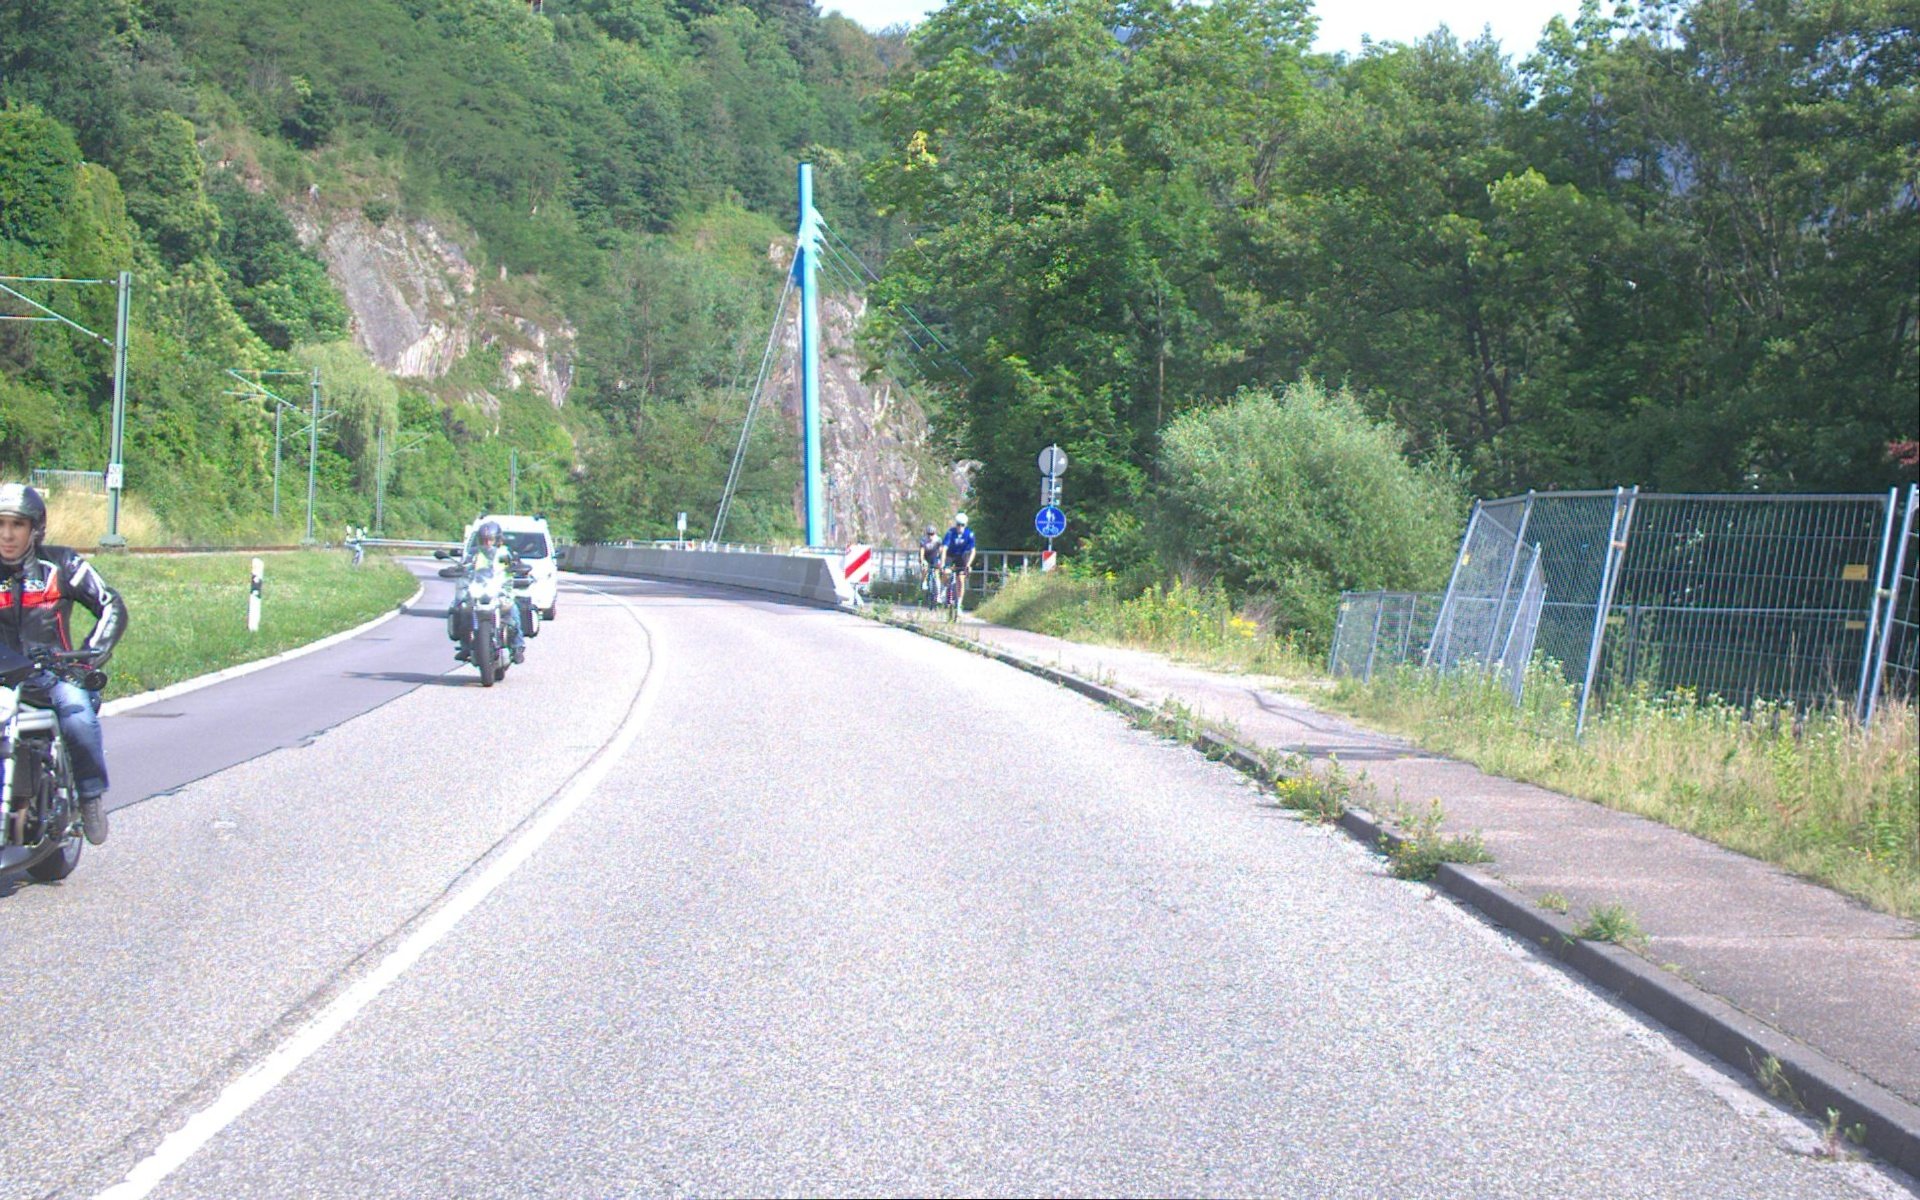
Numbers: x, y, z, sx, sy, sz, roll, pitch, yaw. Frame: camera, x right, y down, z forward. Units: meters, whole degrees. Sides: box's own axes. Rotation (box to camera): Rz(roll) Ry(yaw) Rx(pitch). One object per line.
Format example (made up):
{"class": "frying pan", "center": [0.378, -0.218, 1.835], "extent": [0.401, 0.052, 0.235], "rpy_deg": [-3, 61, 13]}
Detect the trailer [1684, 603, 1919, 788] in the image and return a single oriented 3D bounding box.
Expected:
{"class": "trailer", "center": [11.712, 1.143, 41.636], "extent": [2.389, 2.007, 11.502], "rpy_deg": [3, 0, -5]}

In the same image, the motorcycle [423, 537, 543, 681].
{"class": "motorcycle", "center": [-4.821, 0.065, 34.907], "extent": [0.862, 1.378, 2.403], "rpy_deg": [1, 2, 0]}

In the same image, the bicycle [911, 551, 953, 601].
{"class": "bicycle", "center": [-0.554, -0.473, 67.743], "extent": [0.600, 0.913, 1.848], "rpy_deg": [4, 1, -6]}

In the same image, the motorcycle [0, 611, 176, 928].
{"class": "motorcycle", "center": [-3.888, 0.648, 14.130], "extent": [0.862, 1.126, 2.126], "rpy_deg": [1, 2, -1]}

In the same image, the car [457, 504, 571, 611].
{"class": "car", "center": [-7.848, -0.785, 60.818], "extent": [1.869, 1.775, 4.600], "rpy_deg": [1, 2, -6]}

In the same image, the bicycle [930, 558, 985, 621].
{"class": "bicycle", "center": [-0.042, -0.183, 56.282], "extent": [0.648, 0.939, 1.848], "rpy_deg": [4, 1, -6]}

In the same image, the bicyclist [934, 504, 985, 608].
{"class": "bicyclist", "center": [-0.013, -0.727, 56.367], "extent": [0.641, 1.648, 0.808], "rpy_deg": [4, 1, -6]}

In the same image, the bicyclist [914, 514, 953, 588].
{"class": "bicyclist", "center": [-0.520, -0.970, 67.736], "extent": [0.592, 1.396, 0.762], "rpy_deg": [4, 1, -6]}

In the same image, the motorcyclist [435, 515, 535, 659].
{"class": "motorcyclist", "center": [-4.813, -0.141, 34.890], "extent": [0.858, 1.418, 0.964], "rpy_deg": [1, 2, 0]}

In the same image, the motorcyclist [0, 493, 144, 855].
{"class": "motorcyclist", "center": [-3.873, 0.277, 14.055], "extent": [0.843, 1.418, 0.964], "rpy_deg": [1, 2, -1]}
